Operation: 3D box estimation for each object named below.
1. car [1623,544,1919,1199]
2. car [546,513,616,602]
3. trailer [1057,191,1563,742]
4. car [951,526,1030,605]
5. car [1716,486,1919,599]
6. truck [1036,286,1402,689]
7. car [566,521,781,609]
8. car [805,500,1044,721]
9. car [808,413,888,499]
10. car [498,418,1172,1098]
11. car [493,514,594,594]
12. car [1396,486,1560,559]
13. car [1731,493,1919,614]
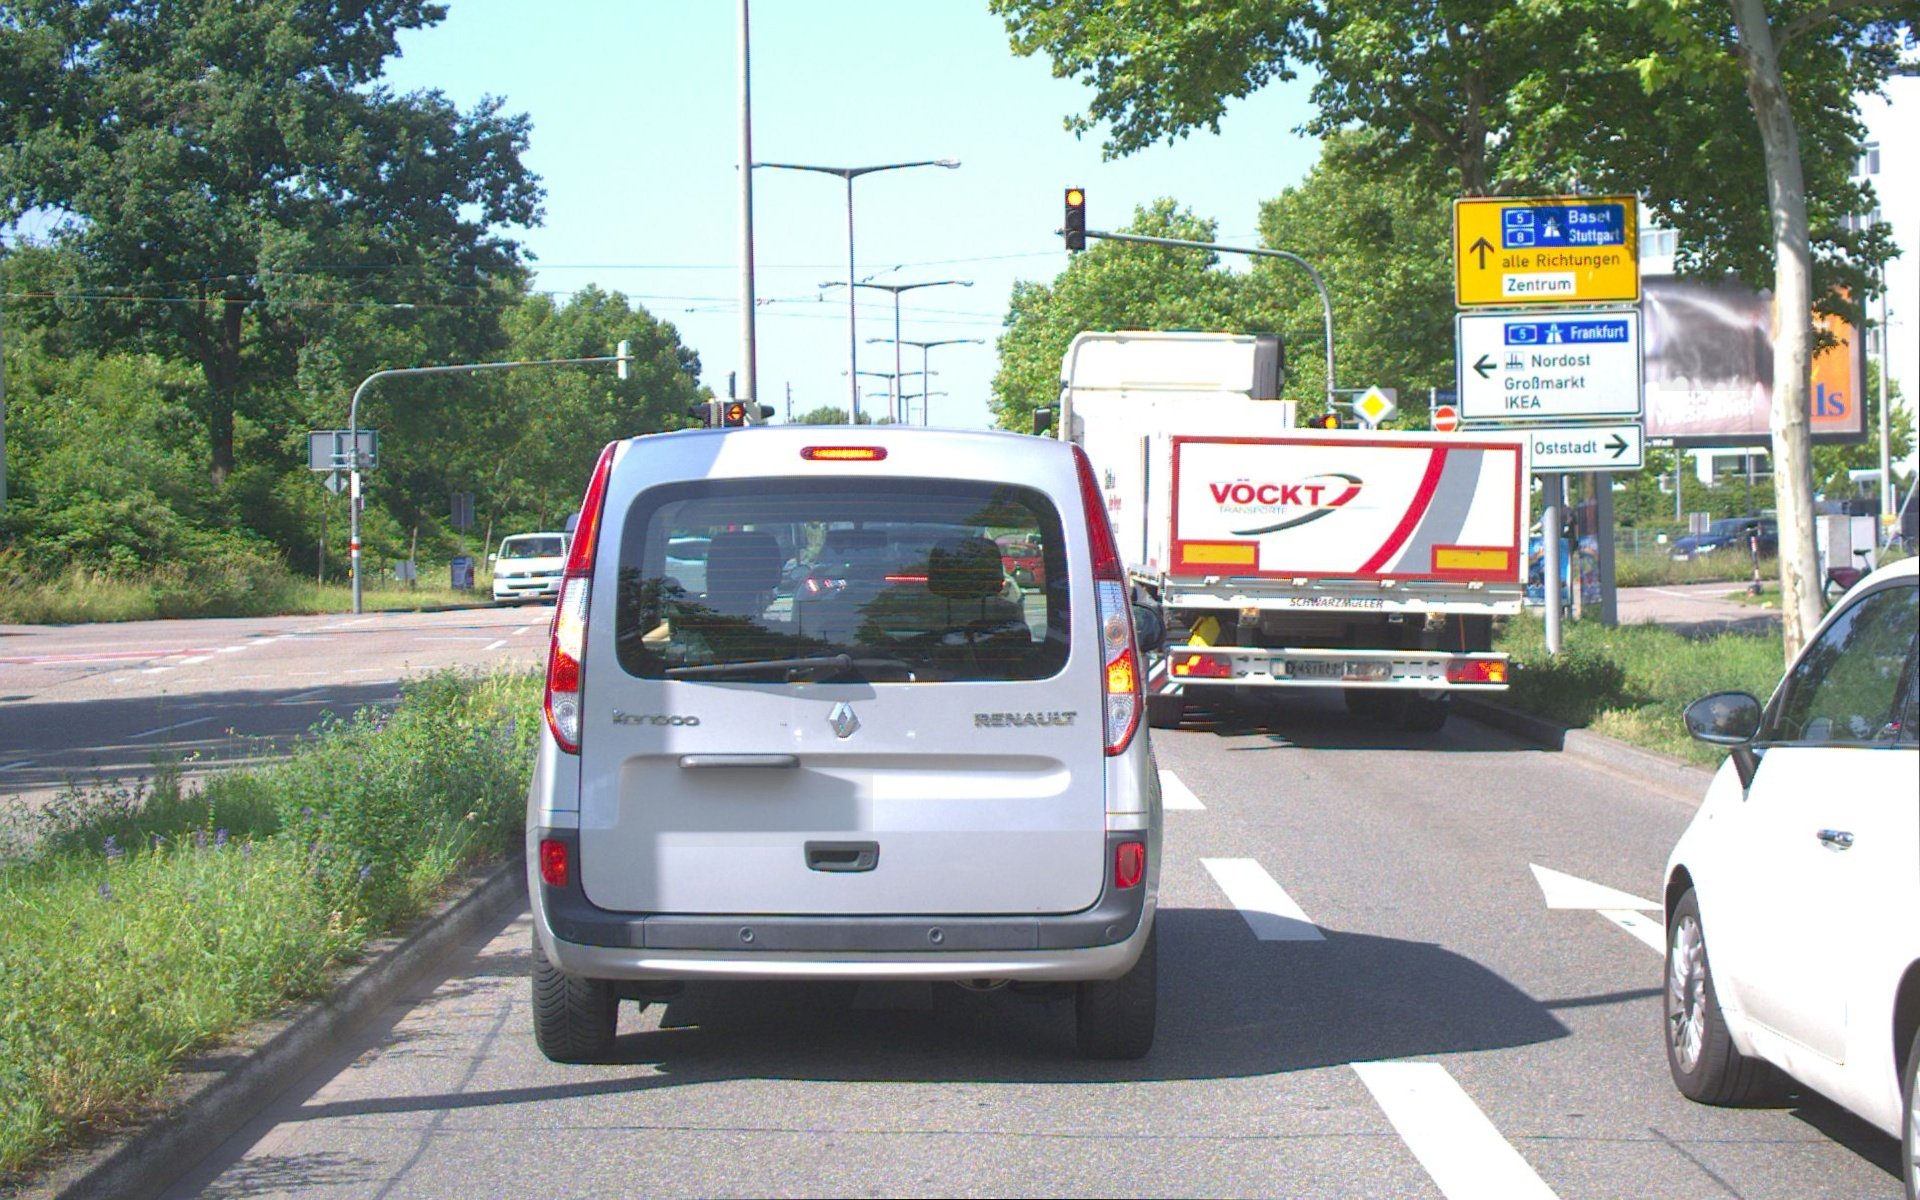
[{"bbox_3d":[2.686,0.592,7.956,1.661,1.431,3.520,0,1,1],"label":"car"},{"bbox_3d":[-11.548,-1.301,104.650,2.058,2.605,5.871,0,1,-7],"label":"car"},{"bbox_3d":[2.551,-0.995,29.479,3.016,3.728,12.240,0,1,0],"label":"trailer"},{"bbox_3d":[0.774,-0.910,90.209,1.993,2.007,4.000,0,1,-1],"label":"car"},{"bbox_3d":[13.474,-0.856,51.531,3.987,1.656,1.723,0,1,5],"label":"car"},{"bbox_3d":[2.502,-1.104,35.843,3.071,3.745,7.477,0,1,-1],"label":"truck"},{"bbox_3d":[-5.408,-0.679,65.327,1.997,1.621,4.108,1,1,32],"label":"car"},{"bbox_3d":[-0.361,0.051,28.276,1.809,1.678,4.001,0,1,-3],"label":"car"},{"bbox_3d":[-2.810,-3.561,85.573,1.713,2.007,4.001,0,1,-6],"label":"car"},{"bbox_3d":[-0.358,0.384,10.937,1.749,1.766,3.949,0,1,-1],"label":"car"},{"bbox_3d":[-10.607,-1.182,87.842,1.993,1.884,4.988,-3,1,-1],"label":"car"},{"bbox_3d":[14.621,-2.188,97.119,4.525,2.007,1.999,0,1,9],"label":"car"},{"bbox_3d":[12.895,-0.647,47.923,3.987,1.656,1.723,0,1,5],"label":"car"}]
